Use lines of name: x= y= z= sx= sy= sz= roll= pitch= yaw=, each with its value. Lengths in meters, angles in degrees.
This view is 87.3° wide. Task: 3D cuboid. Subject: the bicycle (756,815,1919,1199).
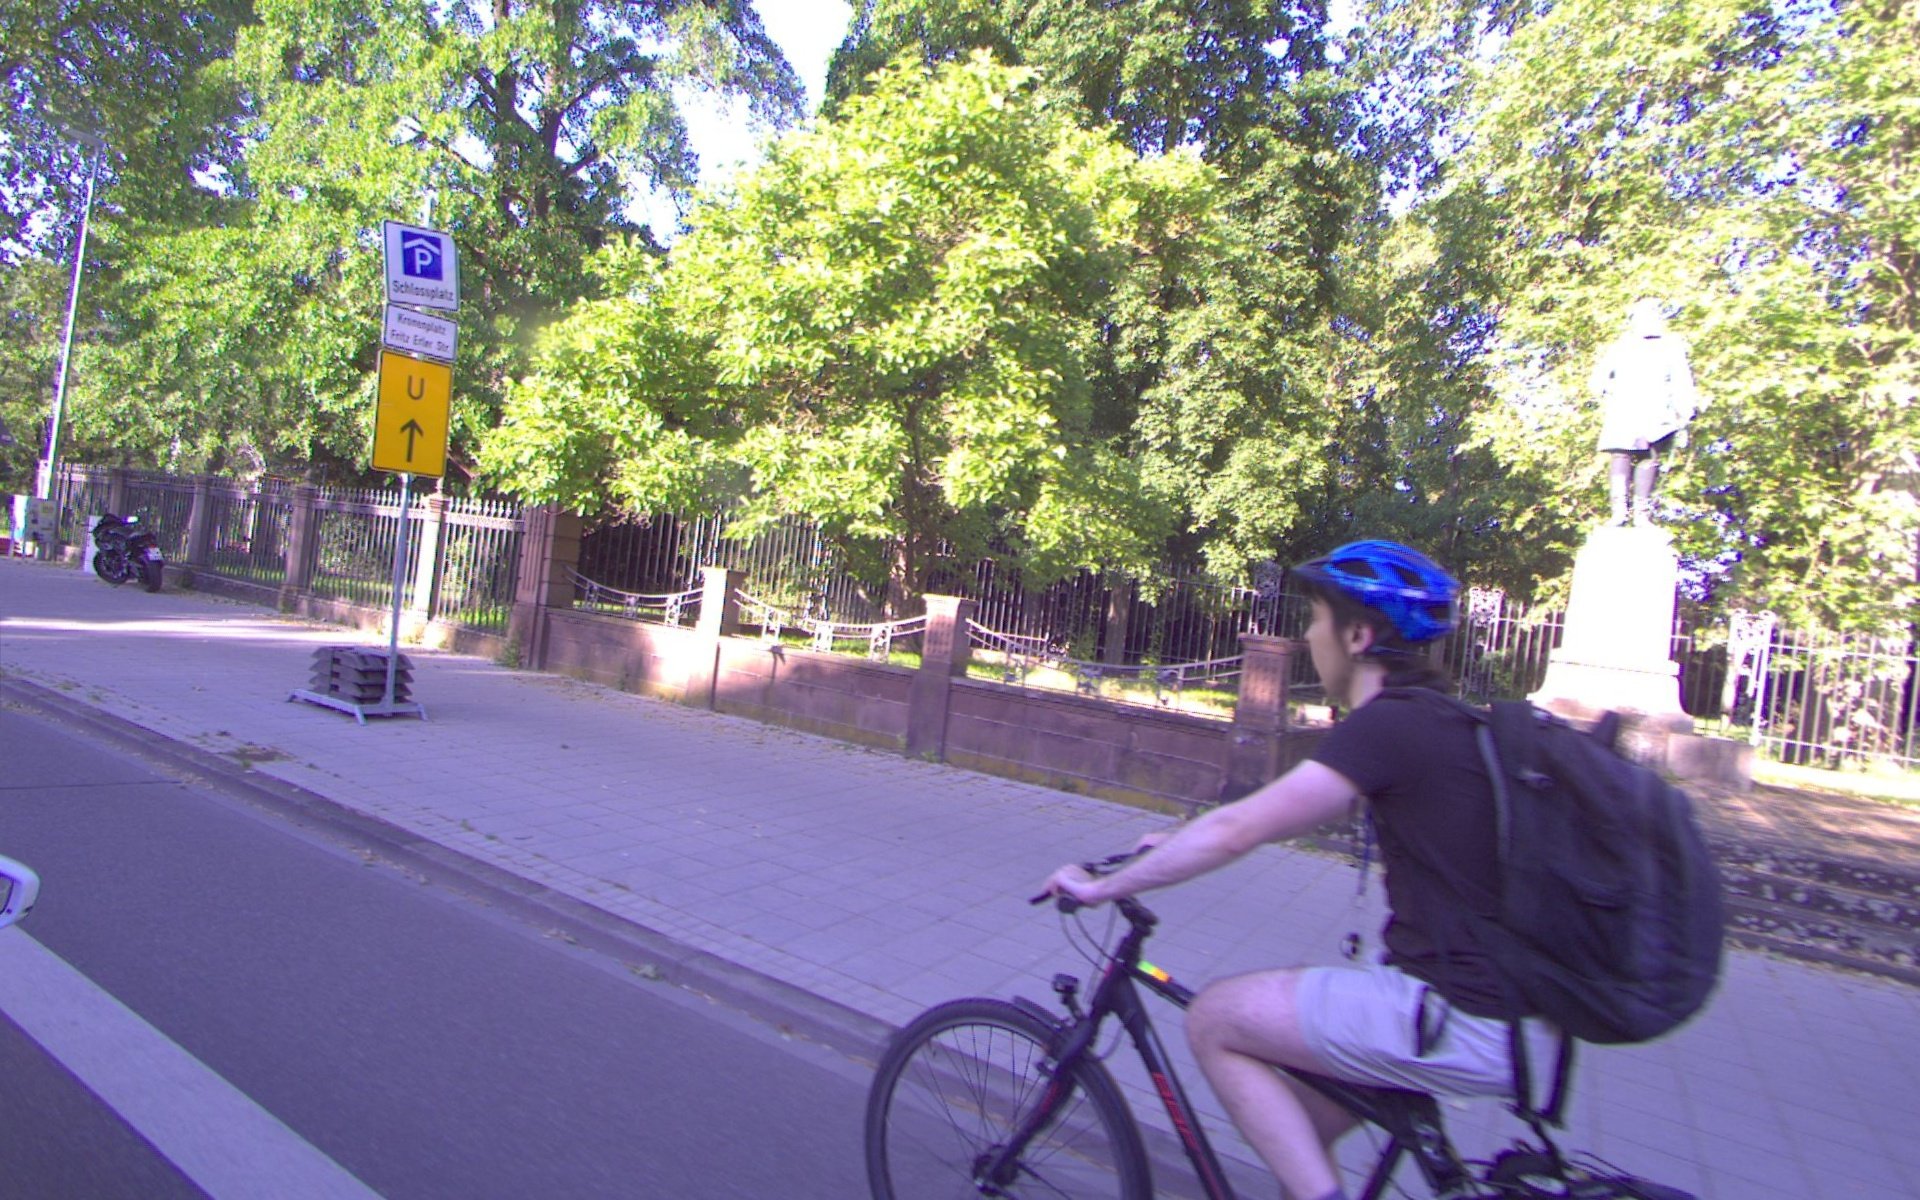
bicycle: x=0.656 y=1.130 z=1.766 sx=2.046 sy=1.021 sz=0.670 roll=7 pitch=-2 yaw=31

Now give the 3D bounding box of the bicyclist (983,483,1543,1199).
bicyclist: x=0.569 y=0.669 z=1.865 sx=0.709 sy=1.620 sz=0.667 roll=7 pitch=-1 yaw=31

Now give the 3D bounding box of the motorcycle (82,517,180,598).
motorcycle: x=-13.649 y=-0.709 z=16.543 sx=2.134 sy=1.146 sz=0.506 roll=6 pitch=1 yaw=31
